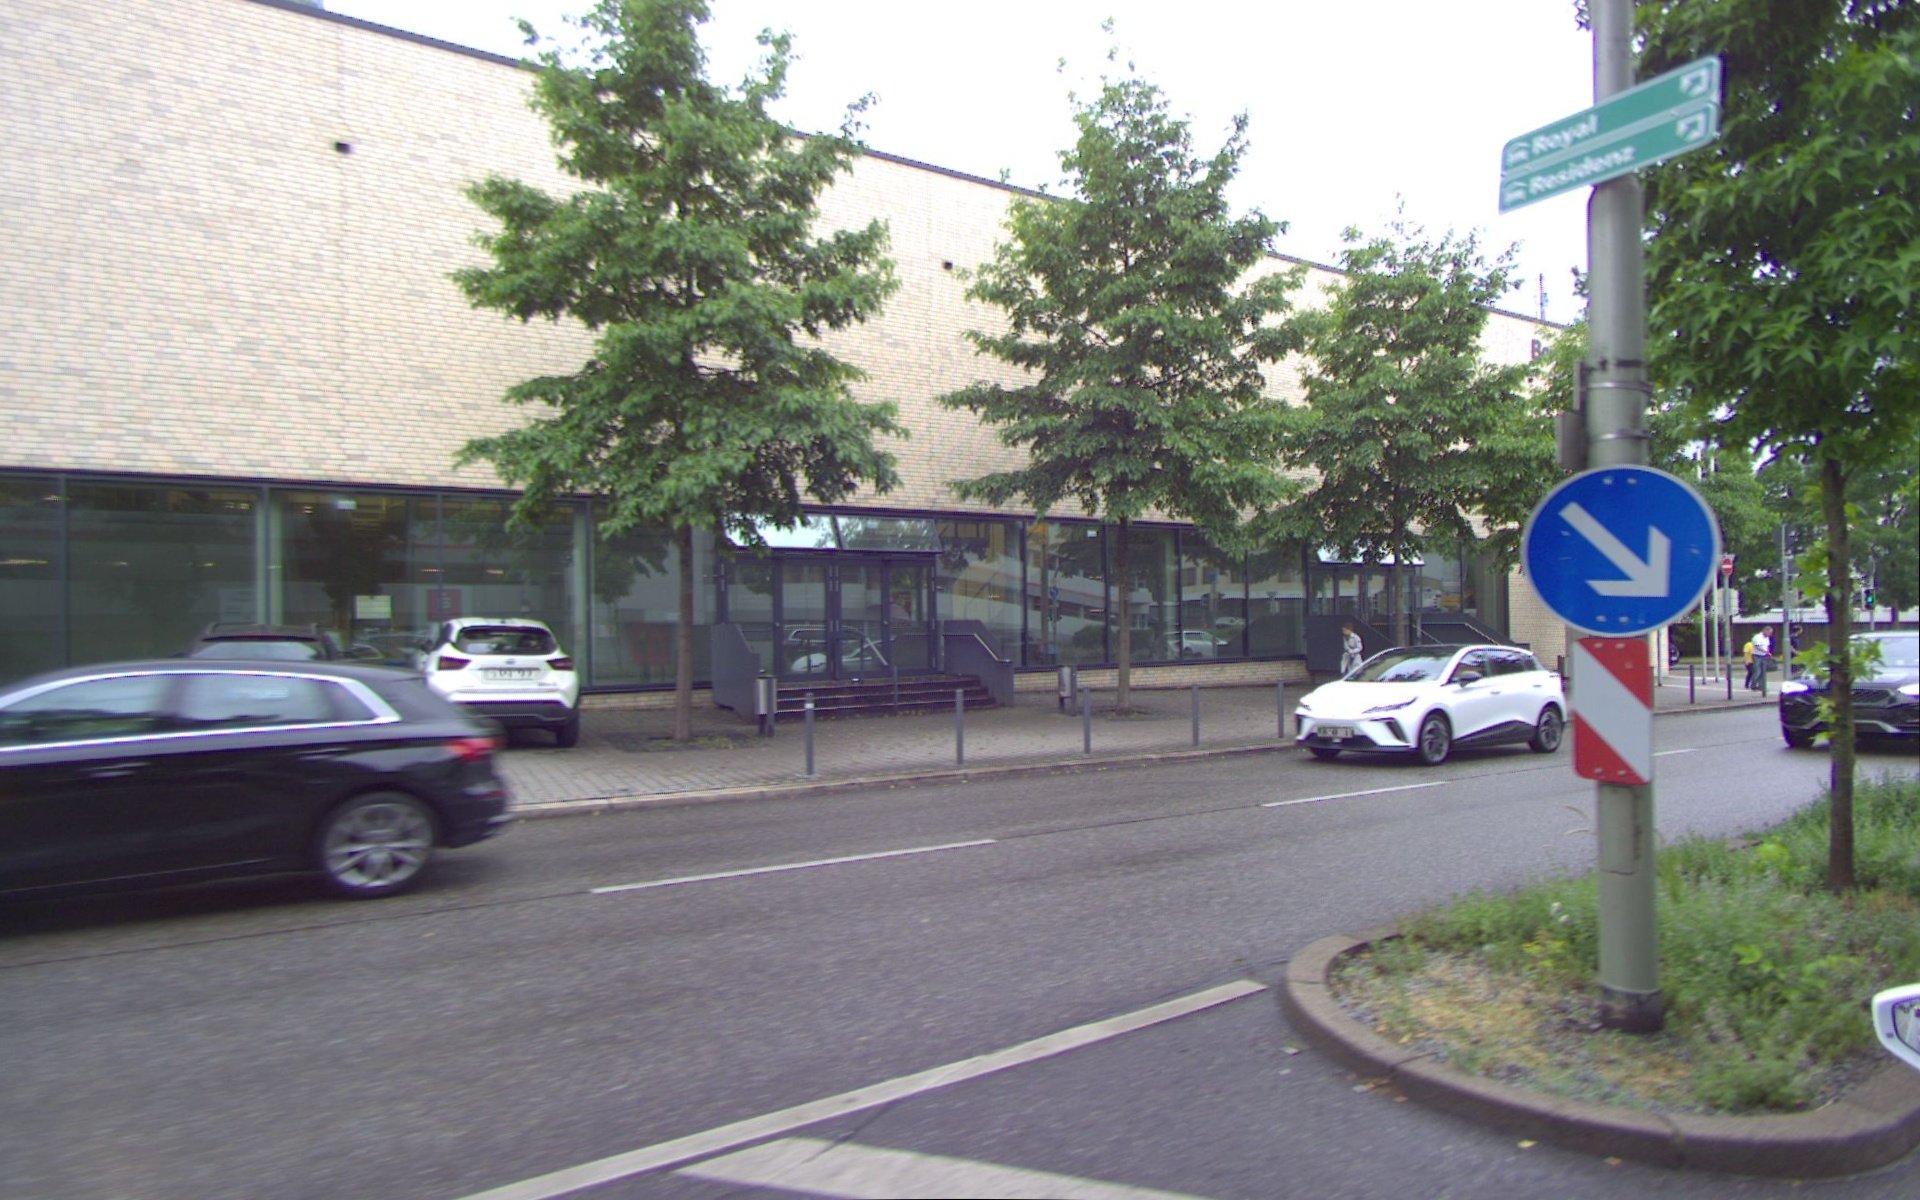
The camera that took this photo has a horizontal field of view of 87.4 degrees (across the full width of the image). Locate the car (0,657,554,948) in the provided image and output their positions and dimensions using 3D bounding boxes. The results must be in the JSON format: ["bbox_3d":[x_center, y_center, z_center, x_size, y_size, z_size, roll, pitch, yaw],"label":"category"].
[{"bbox_3d":[-4.767,1.061,5.923,4.155,1.412,1.723,2,-4,-33],"label":"car"}]

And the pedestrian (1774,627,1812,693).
[{"bbox_3d":[22.807,1.629,27.509,0.712,1.781,0.681,1,-1,-41],"label":"pedestrian"}]

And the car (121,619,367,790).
[{"bbox_3d":[-8.386,1.058,11.850,1.981,1.514,4.147,2,-1,-36],"label":"car"}]

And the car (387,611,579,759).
[{"bbox_3d":[-6.471,1.005,13.519,1.975,1.568,4.159,2,-1,-28],"label":"car"}]

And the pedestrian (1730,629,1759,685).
[{"bbox_3d":[21.868,1.587,27.999,0.540,1.554,0.436,1,-2,-33],"label":"pedestrian"}]

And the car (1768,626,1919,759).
[{"bbox_3d":[13.300,1.227,14.160,4.186,1.646,1.723,1,-4,-33],"label":"car"}]

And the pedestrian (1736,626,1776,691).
[{"bbox_3d":[21.131,1.546,26.657,0.684,1.678,0.608,1,-2,-33],"label":"pedestrian"}]

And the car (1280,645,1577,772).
[{"bbox_3d":[6.468,1.384,13.750,4.186,1.488,1.723,1,-4,-33],"label":"car"}]

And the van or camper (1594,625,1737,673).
[{"bbox_3d":[30.533,2.054,43.645,1.999,1.957,4.716,1,-2,-30],"label":"van or camper"}]

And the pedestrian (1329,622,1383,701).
[{"bbox_3d":[8.779,1.351,22.268,1.009,1.688,0.638,2,0,-36],"label":"pedestrian"}]
